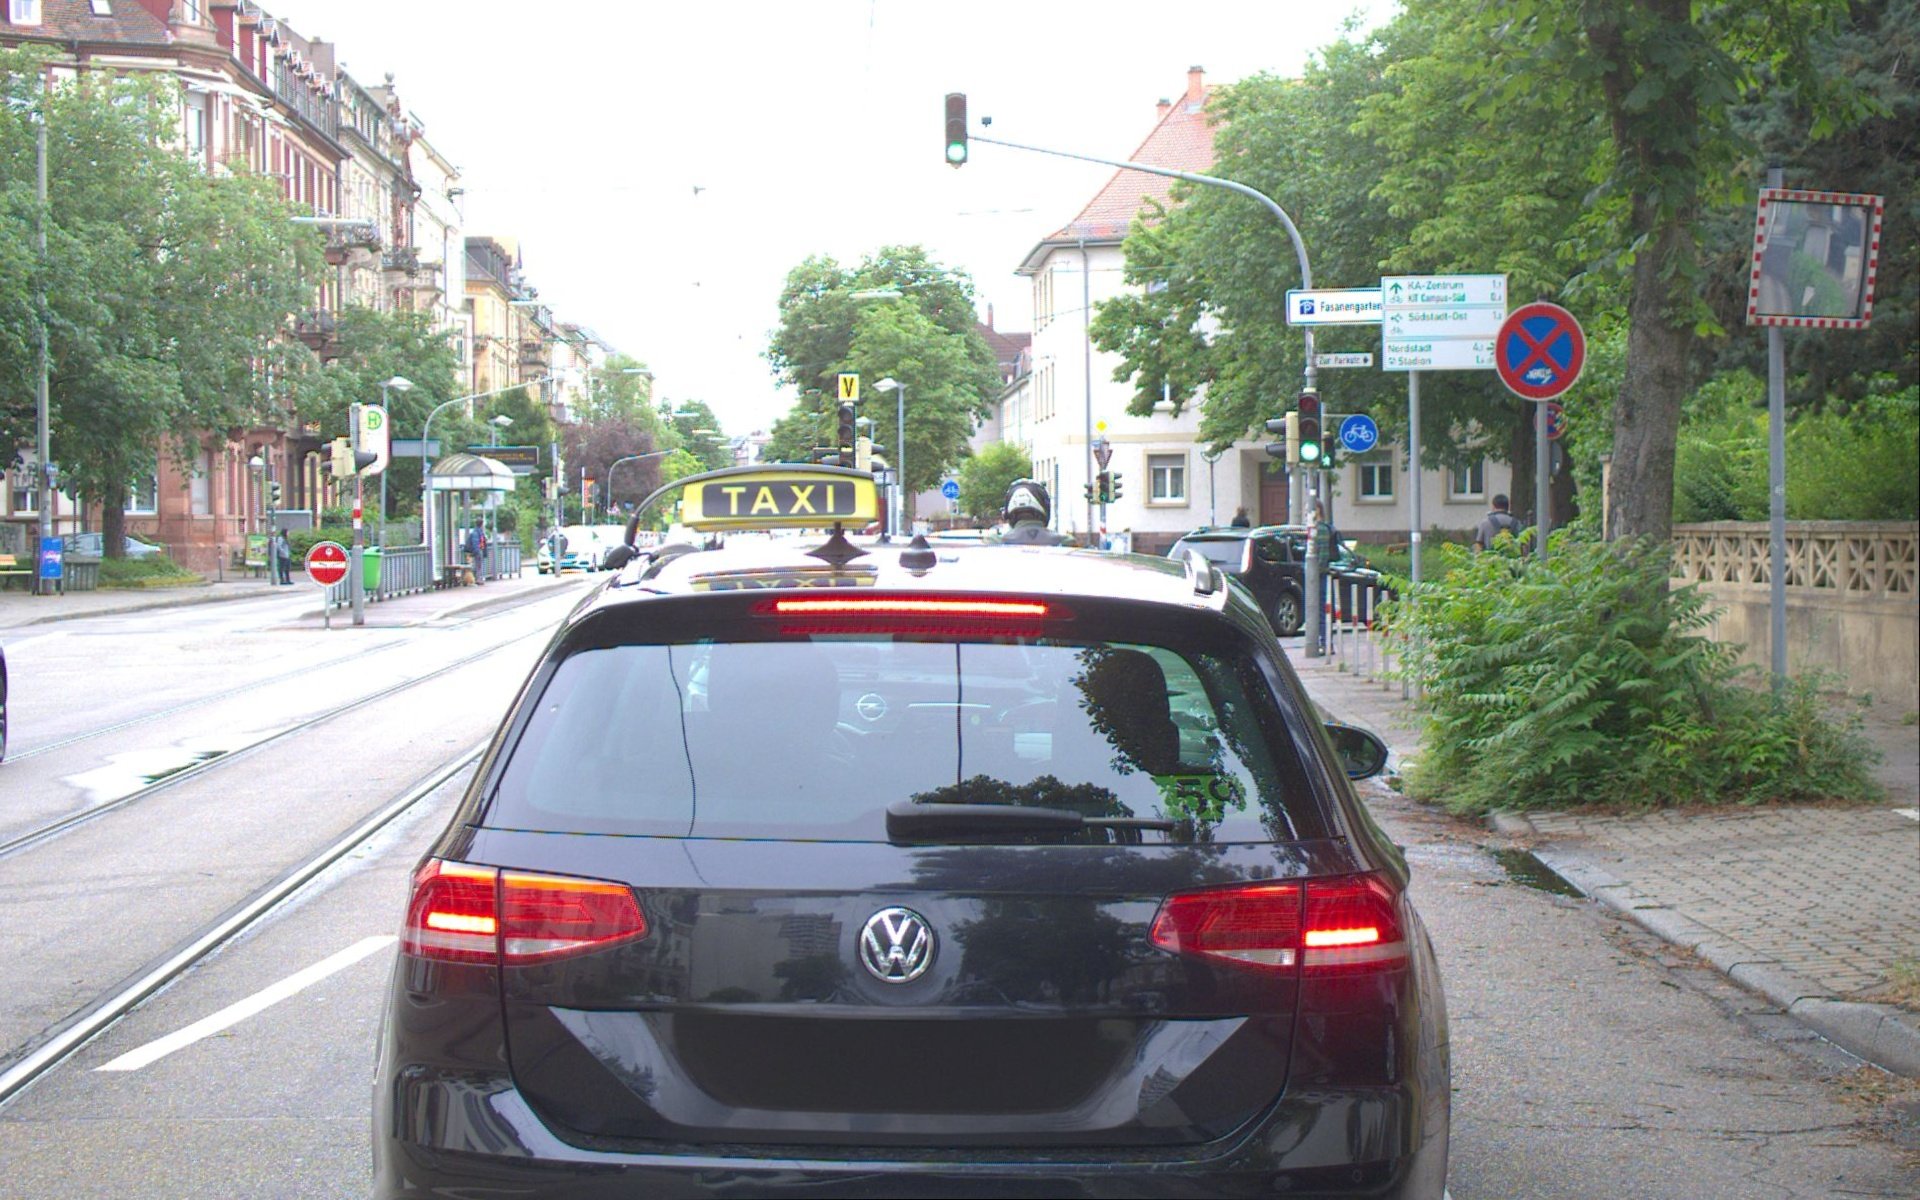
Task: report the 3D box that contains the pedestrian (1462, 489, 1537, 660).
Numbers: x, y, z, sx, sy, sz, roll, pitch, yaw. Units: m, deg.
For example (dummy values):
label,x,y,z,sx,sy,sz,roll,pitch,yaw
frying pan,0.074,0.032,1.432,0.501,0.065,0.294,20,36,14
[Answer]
label,x,y,z,sx,sy,sz,roll,pitch,yaw
pedestrian,5.775,-0.280,36.815,0.632,1.808,0.726,0,1,-4

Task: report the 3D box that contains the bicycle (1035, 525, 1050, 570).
label,x,y,z,sx,sy,sz,roll,pitch,yaw
bicycle,2.273,-1.448,94.389,0.297,1.219,1.430,0,1,5

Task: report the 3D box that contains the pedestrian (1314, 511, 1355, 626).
label,x,y,z,sx,sy,sz,roll,pitch,yaw
pedestrian,6.062,-0.509,55.598,0.514,1.824,0.418,-3,1,14

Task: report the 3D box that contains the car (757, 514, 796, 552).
label,x,y,z,sx,sy,sz,roll,pitch,yaw
car,-9.976,-3.625,187.424,2.032,2.007,4.000,1,1,-2

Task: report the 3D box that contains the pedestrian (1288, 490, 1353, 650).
label,x,y,z,sx,sy,sz,roll,pitch,yaw
pedestrian,4.211,-0.355,40.193,0.585,1.824,0.604,-3,1,-1

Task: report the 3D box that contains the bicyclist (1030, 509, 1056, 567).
label,x,y,z,sx,sy,sz,roll,pitch,yaw
bicyclist,2.278,-1.708,94.392,0.651,1.563,0.695,0,1,5

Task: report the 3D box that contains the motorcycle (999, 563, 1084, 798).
label,x,y,z,sx,sy,sz,roll,pitch,yaw
motorcycle,0.455,0.420,19.393,0.446,1.231,1.907,0,1,1

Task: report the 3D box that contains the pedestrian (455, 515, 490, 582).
label,x,y,z,sx,sy,sz,roll,pitch,yaw
pedestrian,-11.128,-1.172,78.525,0.714,1.515,0.590,0,1,-1

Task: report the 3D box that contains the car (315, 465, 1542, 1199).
label,x,y,z,sx,sy,sz,roll,pitch,yaw
car,-0.118,0.536,6.840,1.723,1.541,4.001,0,1,-2

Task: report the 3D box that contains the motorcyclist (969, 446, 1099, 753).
label,x,y,z,sx,sy,sz,roll,pitch,yaw
motorcyclist,0.413,-0.012,19.365,0.703,1.686,0.804,0,1,1

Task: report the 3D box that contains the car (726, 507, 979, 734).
label,x,y,z,sx,sy,sz,roll,pitch,yaw
car,-0.812,0.094,25.464,1.723,1.541,4.001,0,1,-2

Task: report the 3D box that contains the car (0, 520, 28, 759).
label,x,y,z,sx,sy,sz,roll,pitch,yaw
car,-6.781,0.295,20.323,1.698,1.491,3.931,-2,1,-4

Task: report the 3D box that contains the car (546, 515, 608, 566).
label,x,y,z,sx,sy,sz,roll,pitch,yaw
car,-12.465,-1.948,112.090,1.721,1.617,3.864,-1,1,-3

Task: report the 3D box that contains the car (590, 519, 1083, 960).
label,x,y,z,sx,sy,sz,roll,pitch,yaw
car,-0.508,0.444,14.047,1.723,1.541,4.001,0,1,-2

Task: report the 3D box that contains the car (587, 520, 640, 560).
label,x,y,z,sx,sy,sz,roll,pitch,yaw
car,-12.814,-2.230,127.143,1.721,1.460,3.864,-1,1,-3

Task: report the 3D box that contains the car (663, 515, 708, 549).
label,x,y,z,sx,sy,sz,roll,pitch,yaw
car,-13.001,-3.224,162.975,1.795,1.590,4.000,-1,1,0

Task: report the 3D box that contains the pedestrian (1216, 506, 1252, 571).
label,x,y,z,sx,sy,sz,roll,pitch,yaw
pedestrian,6.496,-1.458,81.558,0.608,1.548,0.583,-1,1,-41

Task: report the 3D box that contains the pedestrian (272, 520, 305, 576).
label,x,y,z,sx,sy,sz,roll,pitch,yaw
pedestrian,-18.054,-1.404,92.438,0.589,1.515,0.648,0,1,33

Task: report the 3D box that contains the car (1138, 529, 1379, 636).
label,x,y,z,sx,sy,sz,roll,pitch,yaw
car,4.258,-0.276,48.497,1.895,1.403,3.994,0,2,29
